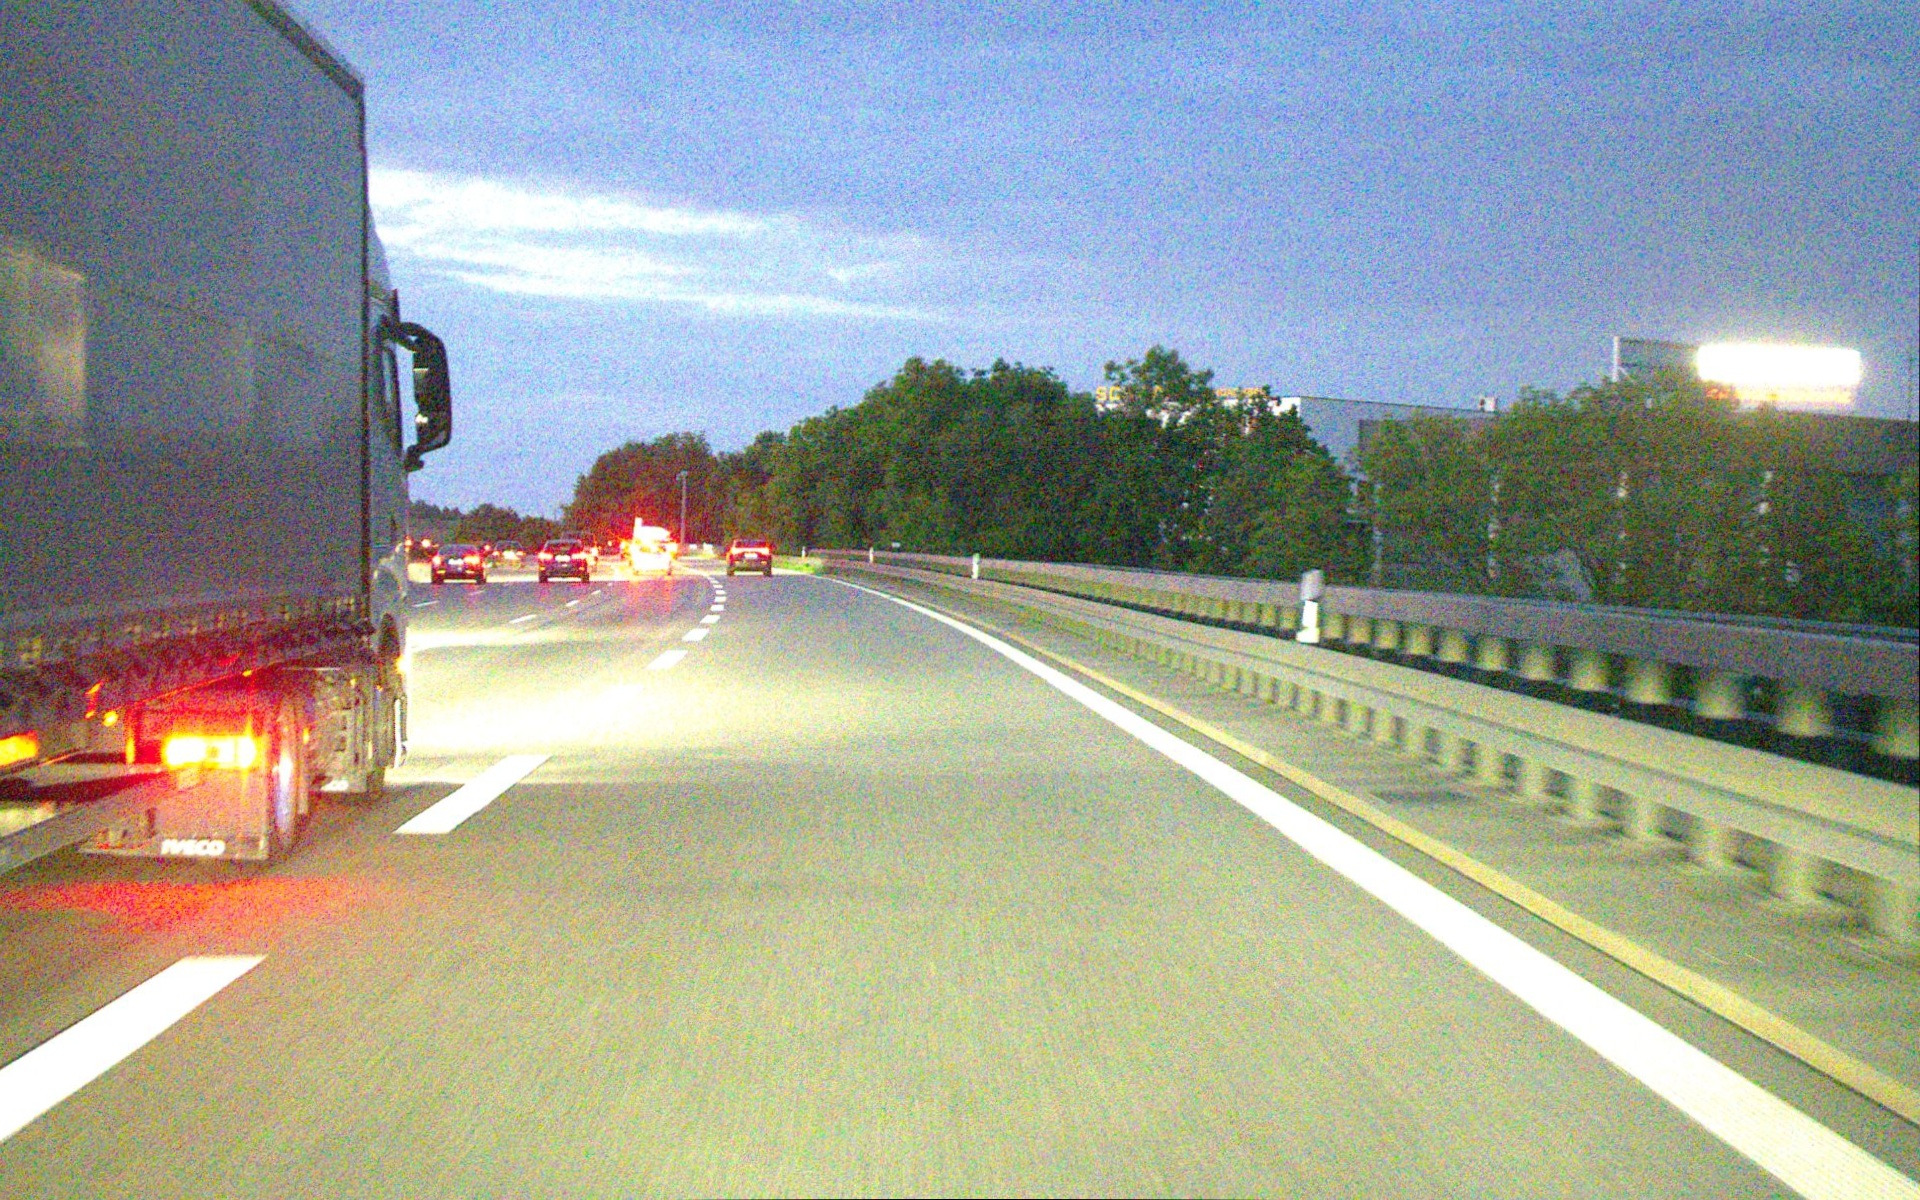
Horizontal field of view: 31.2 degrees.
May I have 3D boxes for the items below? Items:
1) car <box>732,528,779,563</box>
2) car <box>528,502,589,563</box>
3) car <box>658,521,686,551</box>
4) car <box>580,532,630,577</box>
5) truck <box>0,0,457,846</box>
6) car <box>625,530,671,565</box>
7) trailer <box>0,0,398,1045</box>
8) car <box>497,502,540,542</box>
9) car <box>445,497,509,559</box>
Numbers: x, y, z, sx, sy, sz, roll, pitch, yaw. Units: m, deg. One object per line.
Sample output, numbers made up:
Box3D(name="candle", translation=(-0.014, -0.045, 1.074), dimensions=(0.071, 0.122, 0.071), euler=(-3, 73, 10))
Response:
Box3D(name="car", translation=(-8.859, -2.340, 149.172), dimensions=(1.993, 1.349, 4.000), euler=(1, -1, -3))
Box3D(name="car", translation=(-14.930, -2.477, 127.857), dimensions=(1.993, 2.073, 4.000), euler=(1, -1, -3))
Box3D(name="car", translation=(-21.307, -4.712, 254.422), dimensions=(1.993, 2.007, 4.000), euler=(1, -1, -3))
Box3D(name="car", translation=(-17.230, -2.215, 166.931), dimensions=(1.993, 2.007, 4.000), euler=(1, -1, 0))
Box3D(name="truck", translation=(-4.938, -0.959, 19.018), dimensions=(3.550, 4.077, 6.152), euler=(0, 1, -2))
Box3D(name="car", translation=(-13.872, -2.331, 153.139), dimensions=(1.884, 1.349, 4.000), euler=(1, -1, -3))
Box3D(name="trailer", translation=(-4.670, -0.758, 11.479), dimensions=(3.550, 4.102, 15.065), euler=(-1, 1, -2))
Box3D(name="car", translation=(-24.251, -4.292, 189.066), dimensions=(1.993, 2.007, 4.000), euler=(1, -1, -2))
Box3D(name="car", translation=(-17.559, -2.594, 125.118), dimensions=(1.993, 2.040, 4.000), euler=(1, -1, -3))
